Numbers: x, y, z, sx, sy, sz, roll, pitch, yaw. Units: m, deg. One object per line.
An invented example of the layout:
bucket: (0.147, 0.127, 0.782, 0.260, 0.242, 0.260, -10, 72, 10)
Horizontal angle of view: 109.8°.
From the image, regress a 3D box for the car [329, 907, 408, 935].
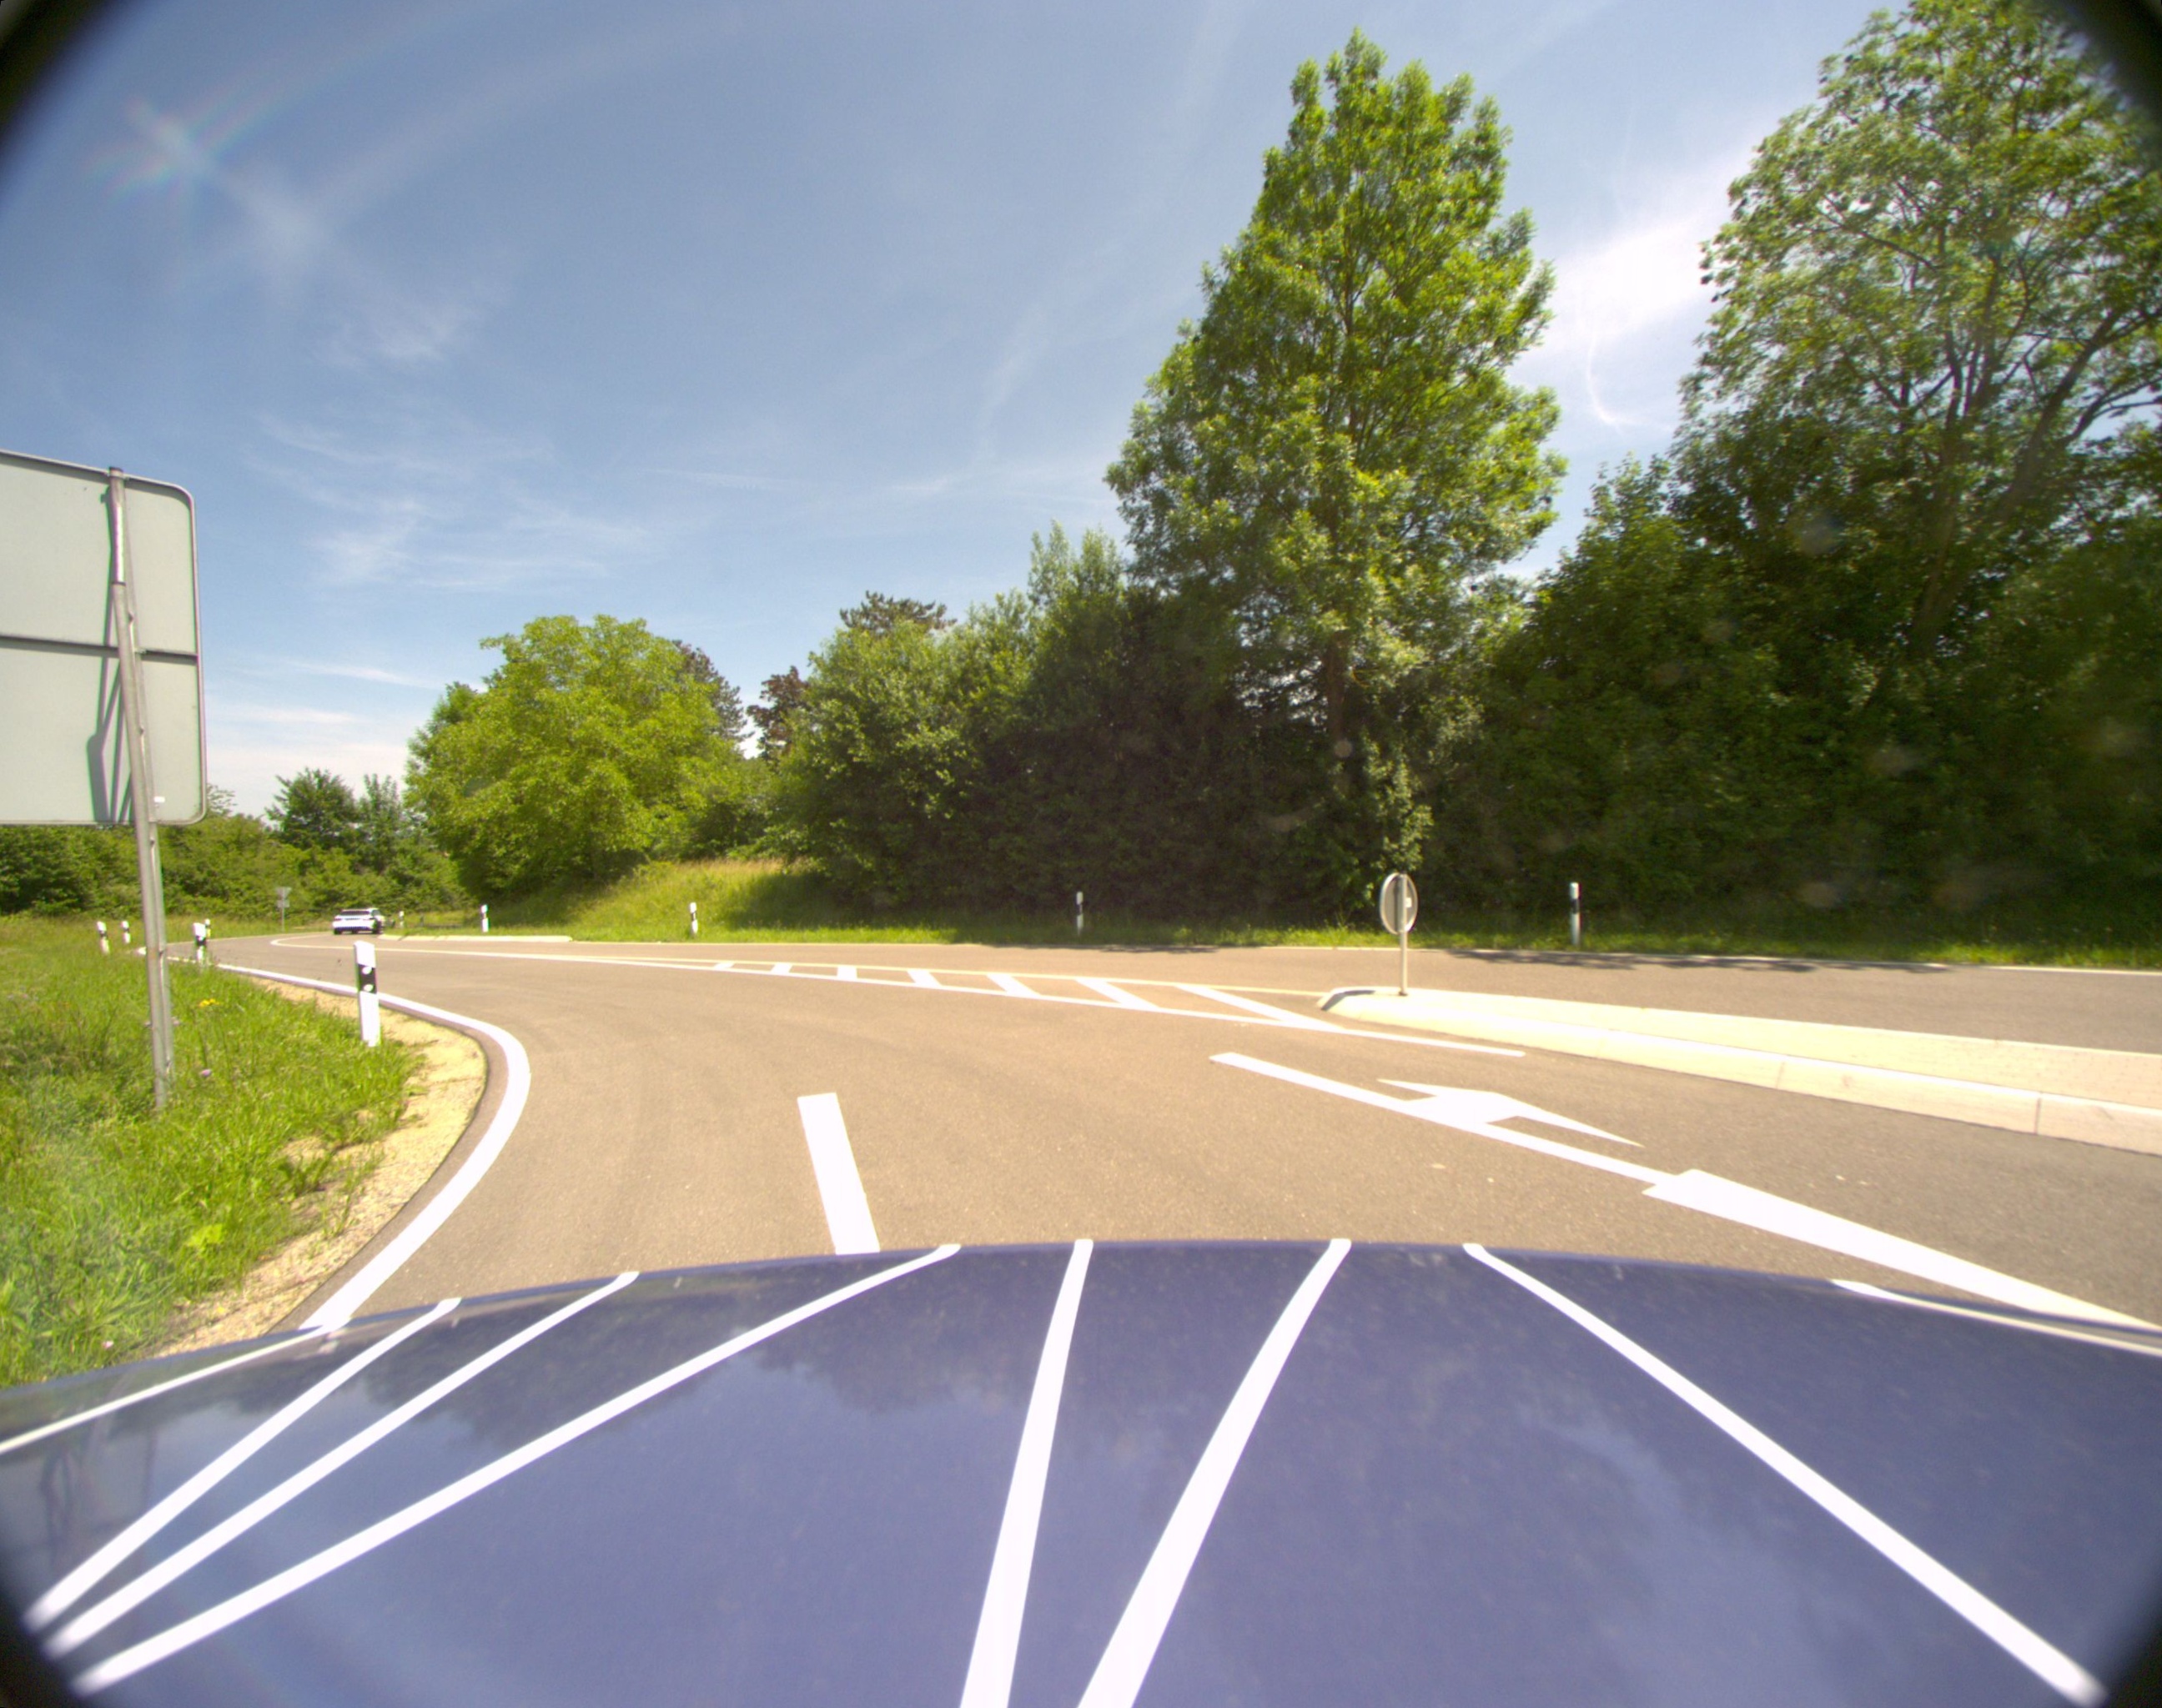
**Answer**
car: (-40.476, 3.751, 43.322, 1.813, 1.403, 5.326, -1, -3, -26)
